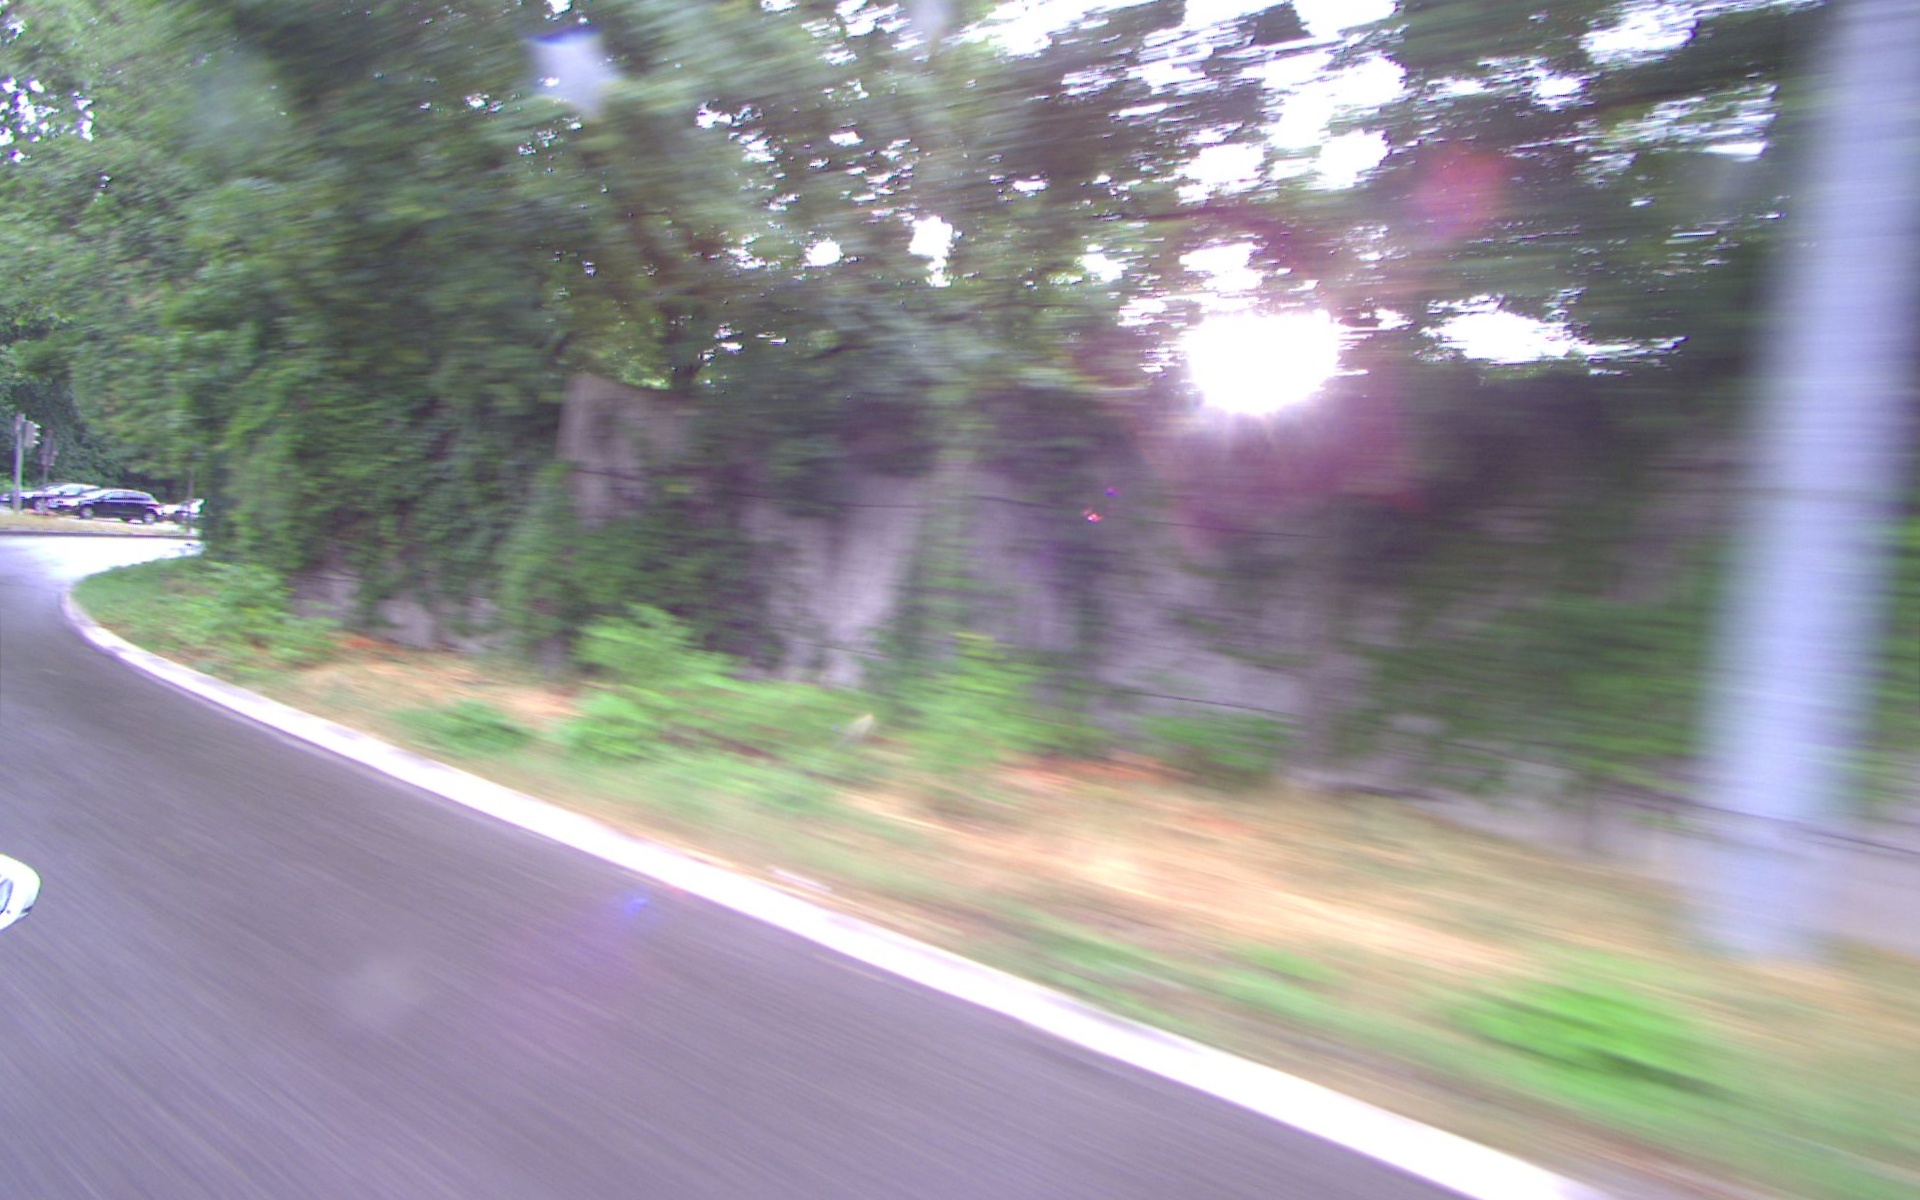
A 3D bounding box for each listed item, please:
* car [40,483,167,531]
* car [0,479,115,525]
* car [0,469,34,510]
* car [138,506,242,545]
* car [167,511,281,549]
[{"bbox_3d":[-37.104,-4.010,43.697,1.641,1.504,3.865,6,0,19],"label":"car"},{"bbox_3d":[-40.790,-4.411,45.148,1.843,1.505,4.000,6,0,15],"label":"car"},{"bbox_3d":[-47.217,-5.429,47.708,2.096,1.861,4.346,6,3,21],"label":"car"},{"bbox_3d":[-38.652,-3.717,50.632,1.712,1.505,3.835,7,1,15],"label":"car"},{"bbox_3d":[-36.002,-3.394,49.337,1.741,1.506,4.267,6,3,20],"label":"car"}]
